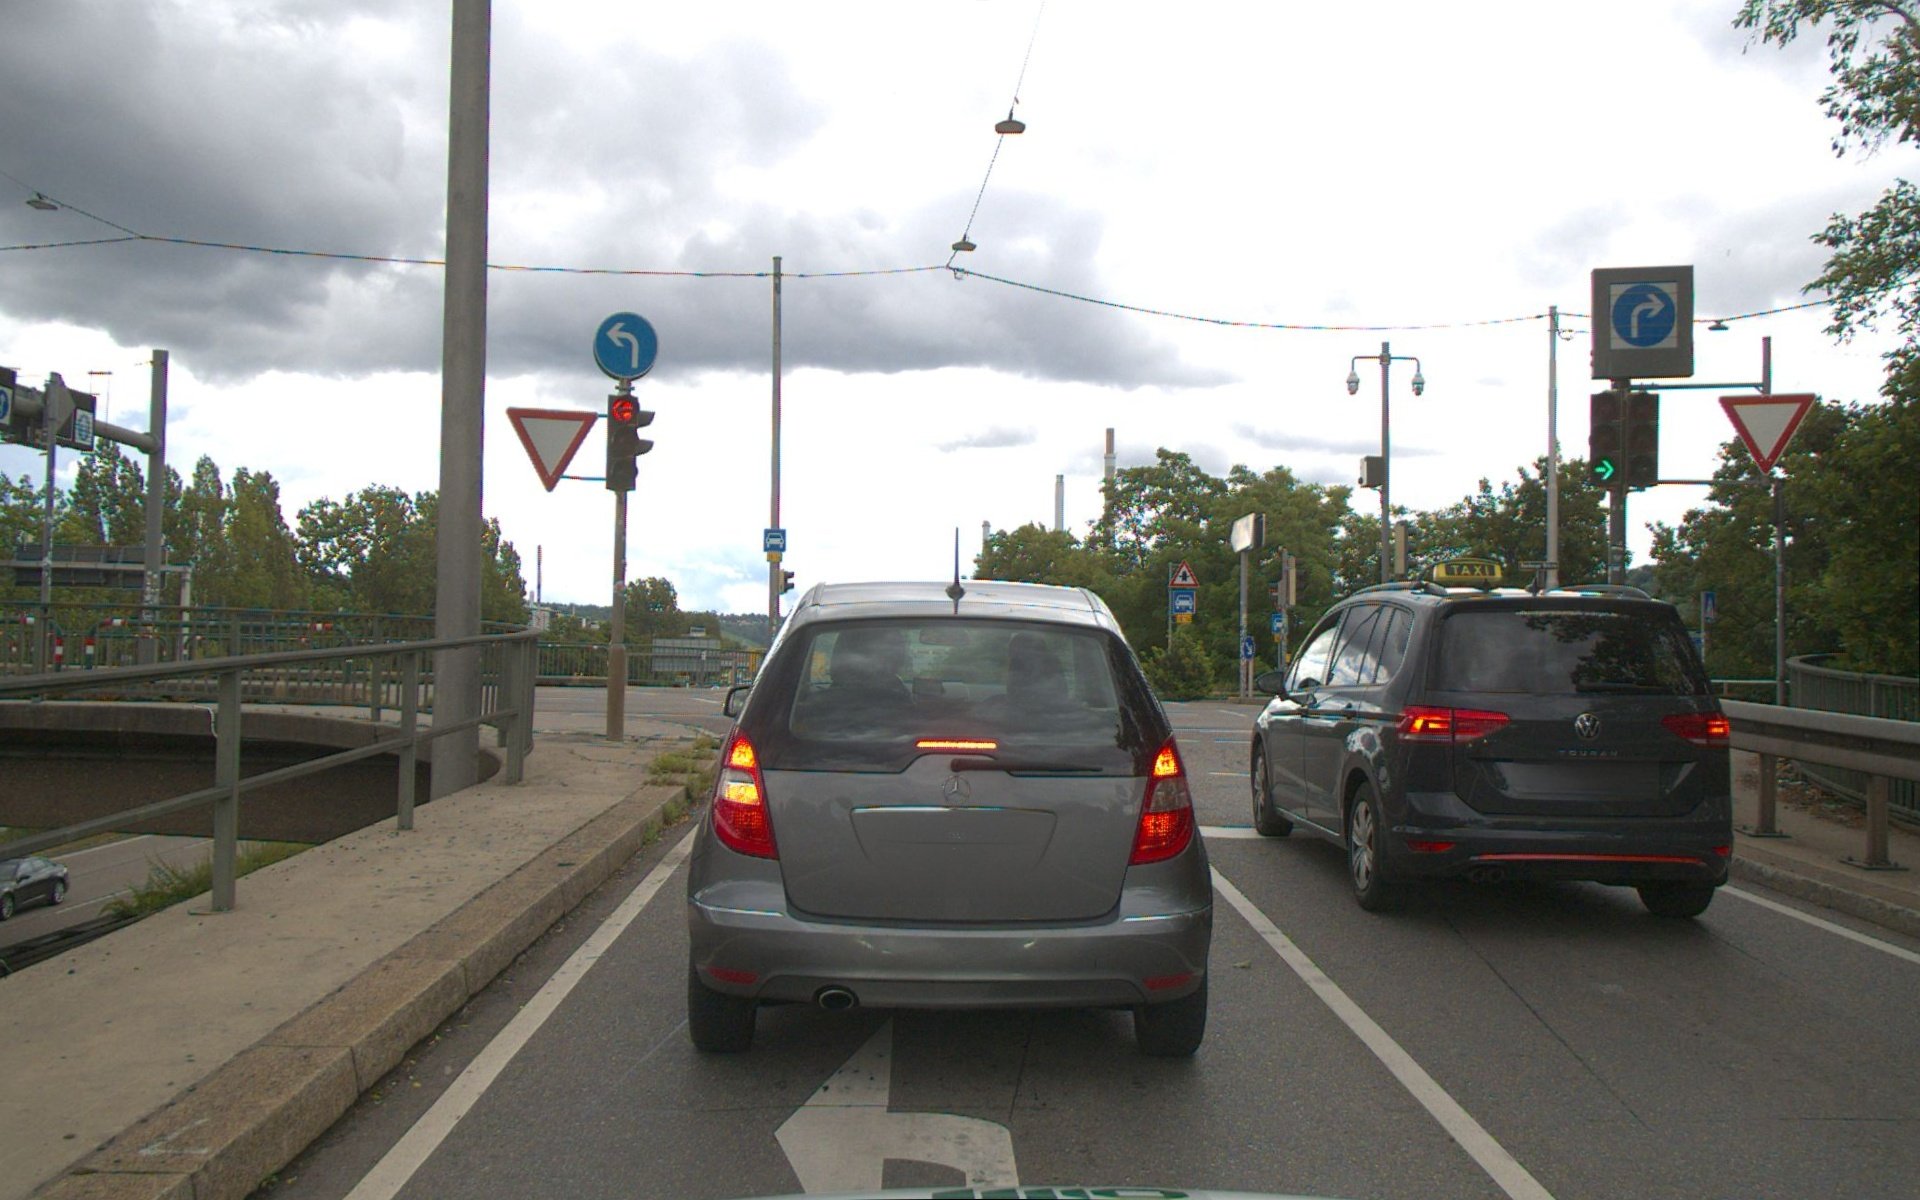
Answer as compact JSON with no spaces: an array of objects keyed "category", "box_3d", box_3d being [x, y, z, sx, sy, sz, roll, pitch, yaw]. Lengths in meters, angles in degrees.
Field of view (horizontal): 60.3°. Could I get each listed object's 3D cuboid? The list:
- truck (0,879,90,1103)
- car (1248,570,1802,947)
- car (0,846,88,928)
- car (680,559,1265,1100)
[{"category":"truck","box_3d":[-15.721,6.092,24.184,2.188,3.062,7.229,0,-2,-1]},{"category":"car","box_3d":[2.923,0.727,9.567,1.759,1.682,4.150,1,0,0]},{"category":"car","box_3d":[-26.514,7.991,46.173,1.953,1.654,4.577,-2,-2,-1]},{"category":"car","box_3d":[0.021,0.686,6.653,1.704,1.570,3.540,1,0,-1]}]
